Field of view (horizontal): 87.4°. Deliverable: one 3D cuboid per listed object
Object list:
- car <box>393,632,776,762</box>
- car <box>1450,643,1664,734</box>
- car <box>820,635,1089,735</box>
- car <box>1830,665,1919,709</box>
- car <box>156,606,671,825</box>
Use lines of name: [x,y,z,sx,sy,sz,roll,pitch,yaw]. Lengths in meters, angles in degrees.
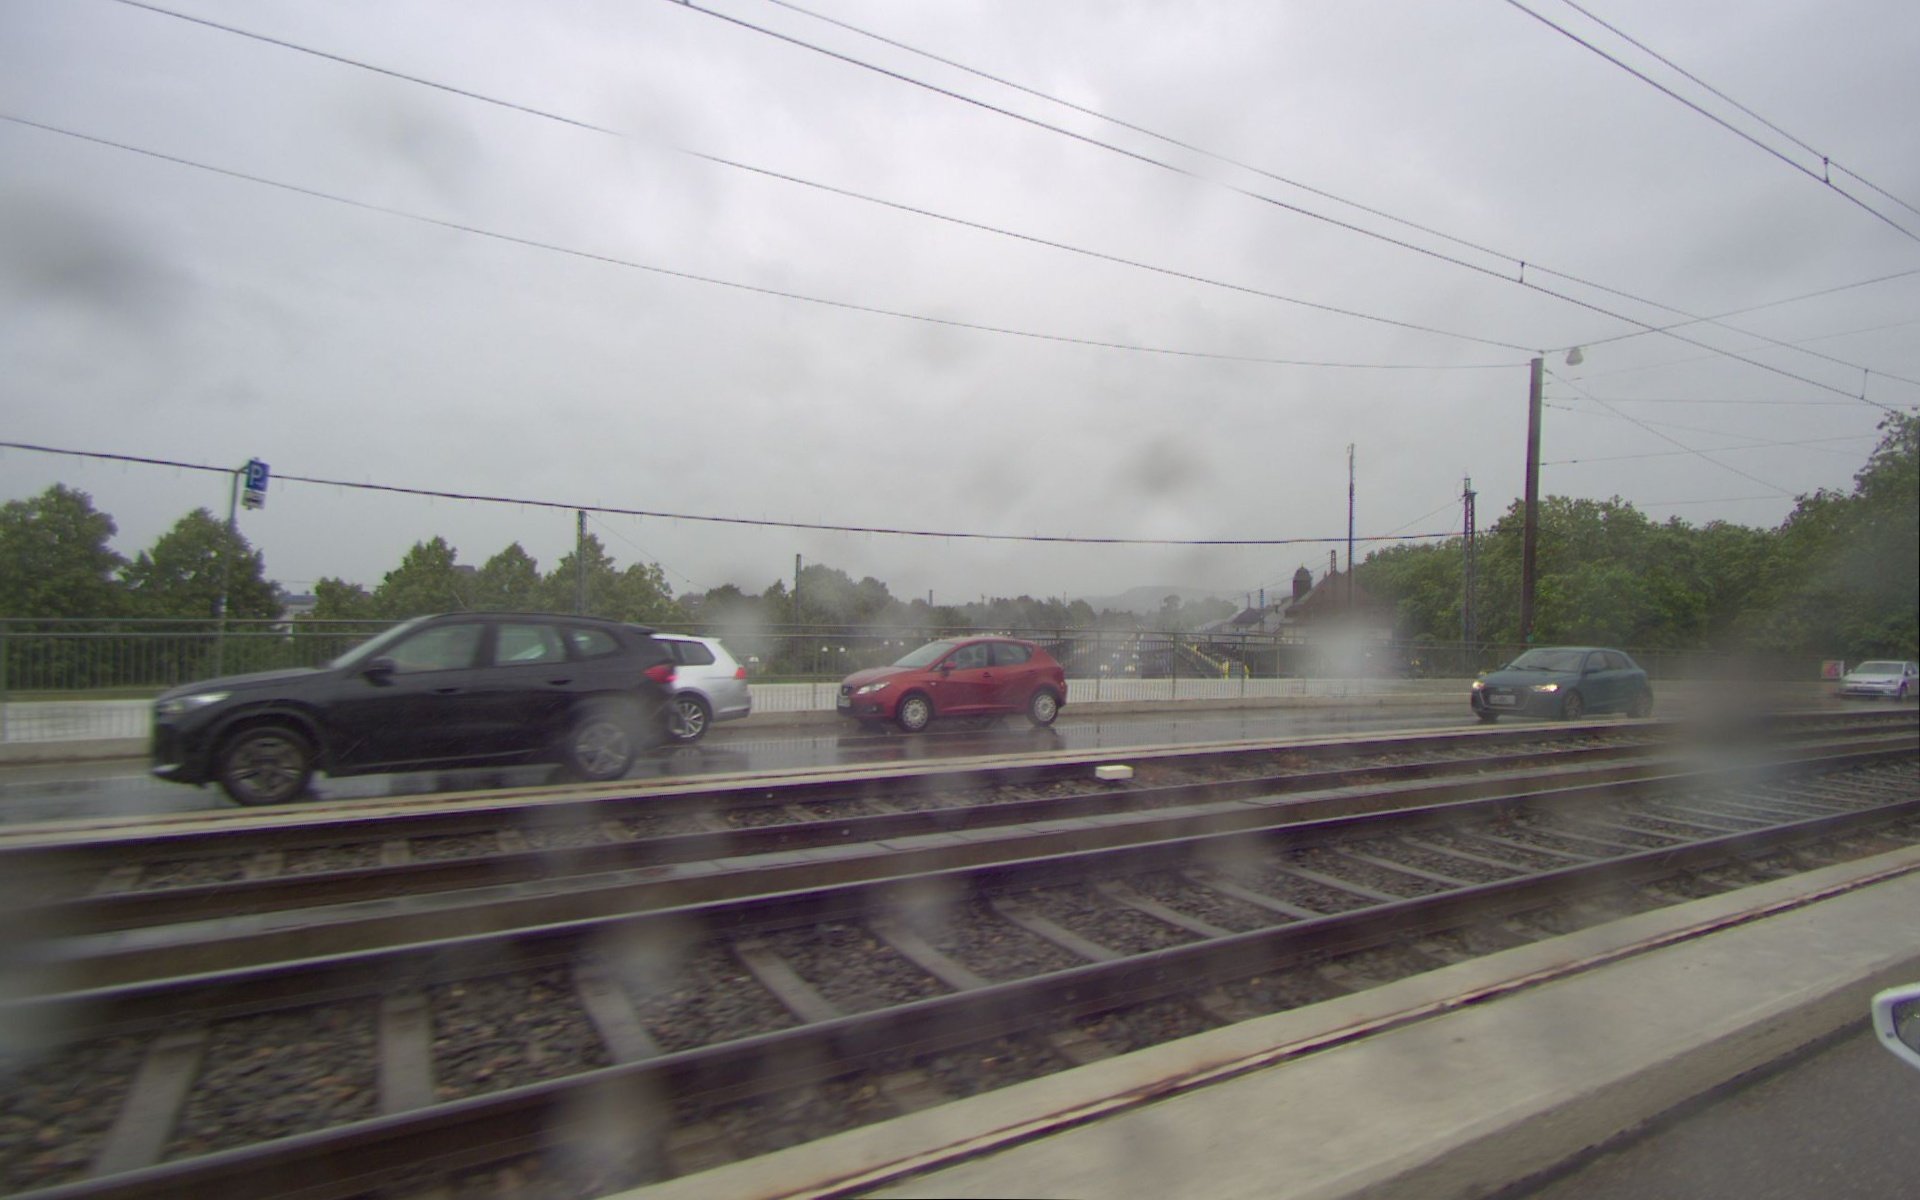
car: [-4.996,1.208,13.556,4.568,1.474,1.984,2,-3,-32]
car: [11.478,1.619,19.271,4.036,1.502,1.791,2,0,-30]
car: [-0.034,1.349,16.688,4.274,1.474,1.612,2,-3,-32]
car: [34.203,3.171,37.135,4.271,1.474,1.854,2,-3,-32]
car: [-5.004,0.957,9.640,3.953,1.676,1.809,2,0,-30]
